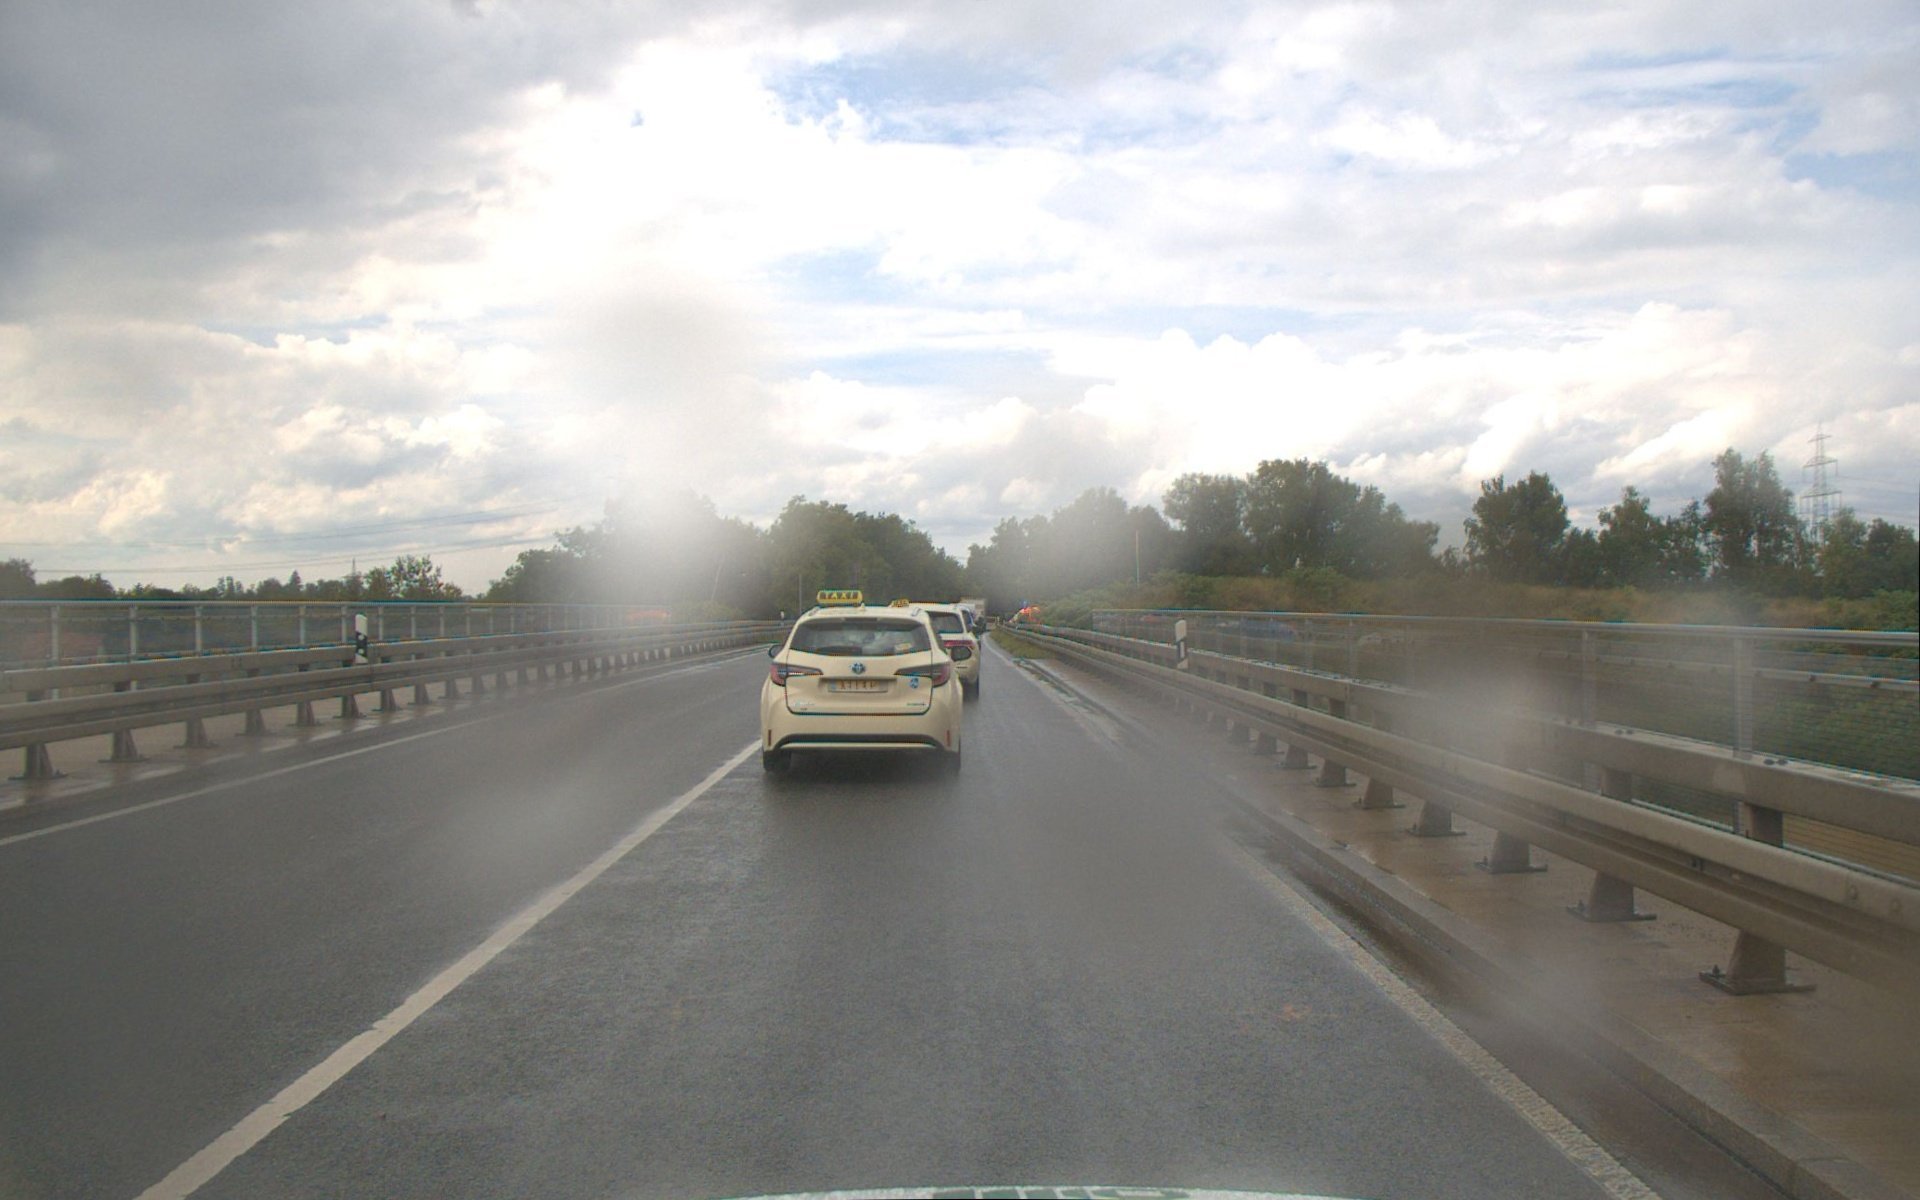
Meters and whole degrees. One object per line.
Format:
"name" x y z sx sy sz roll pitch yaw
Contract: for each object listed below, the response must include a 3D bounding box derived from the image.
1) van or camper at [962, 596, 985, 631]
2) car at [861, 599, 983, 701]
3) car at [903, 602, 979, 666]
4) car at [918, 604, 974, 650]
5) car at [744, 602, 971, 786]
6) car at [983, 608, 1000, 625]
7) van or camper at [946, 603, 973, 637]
"van or camper" 1.418 1.426 175.888 2.285 3.625 6.305 1 0 0
"car" -0.585 0.756 27.066 1.816 1.468 4.170 1 0 -1
"car" -0.488 0.828 42.261 1.816 1.468 4.170 1 0 -1
"car" -0.491 0.894 56.762 1.816 1.468 4.170 1 0 -1
"car" -0.852 0.768 15.530 1.816 1.418 4.170 1 0 -1
"car" 4.003 2.052 207.899 1.953 2.049 3.999 1 0 -1
"van or camper" -0.045 1.777 148.485 2.285 2.914 6.305 1 0 0
